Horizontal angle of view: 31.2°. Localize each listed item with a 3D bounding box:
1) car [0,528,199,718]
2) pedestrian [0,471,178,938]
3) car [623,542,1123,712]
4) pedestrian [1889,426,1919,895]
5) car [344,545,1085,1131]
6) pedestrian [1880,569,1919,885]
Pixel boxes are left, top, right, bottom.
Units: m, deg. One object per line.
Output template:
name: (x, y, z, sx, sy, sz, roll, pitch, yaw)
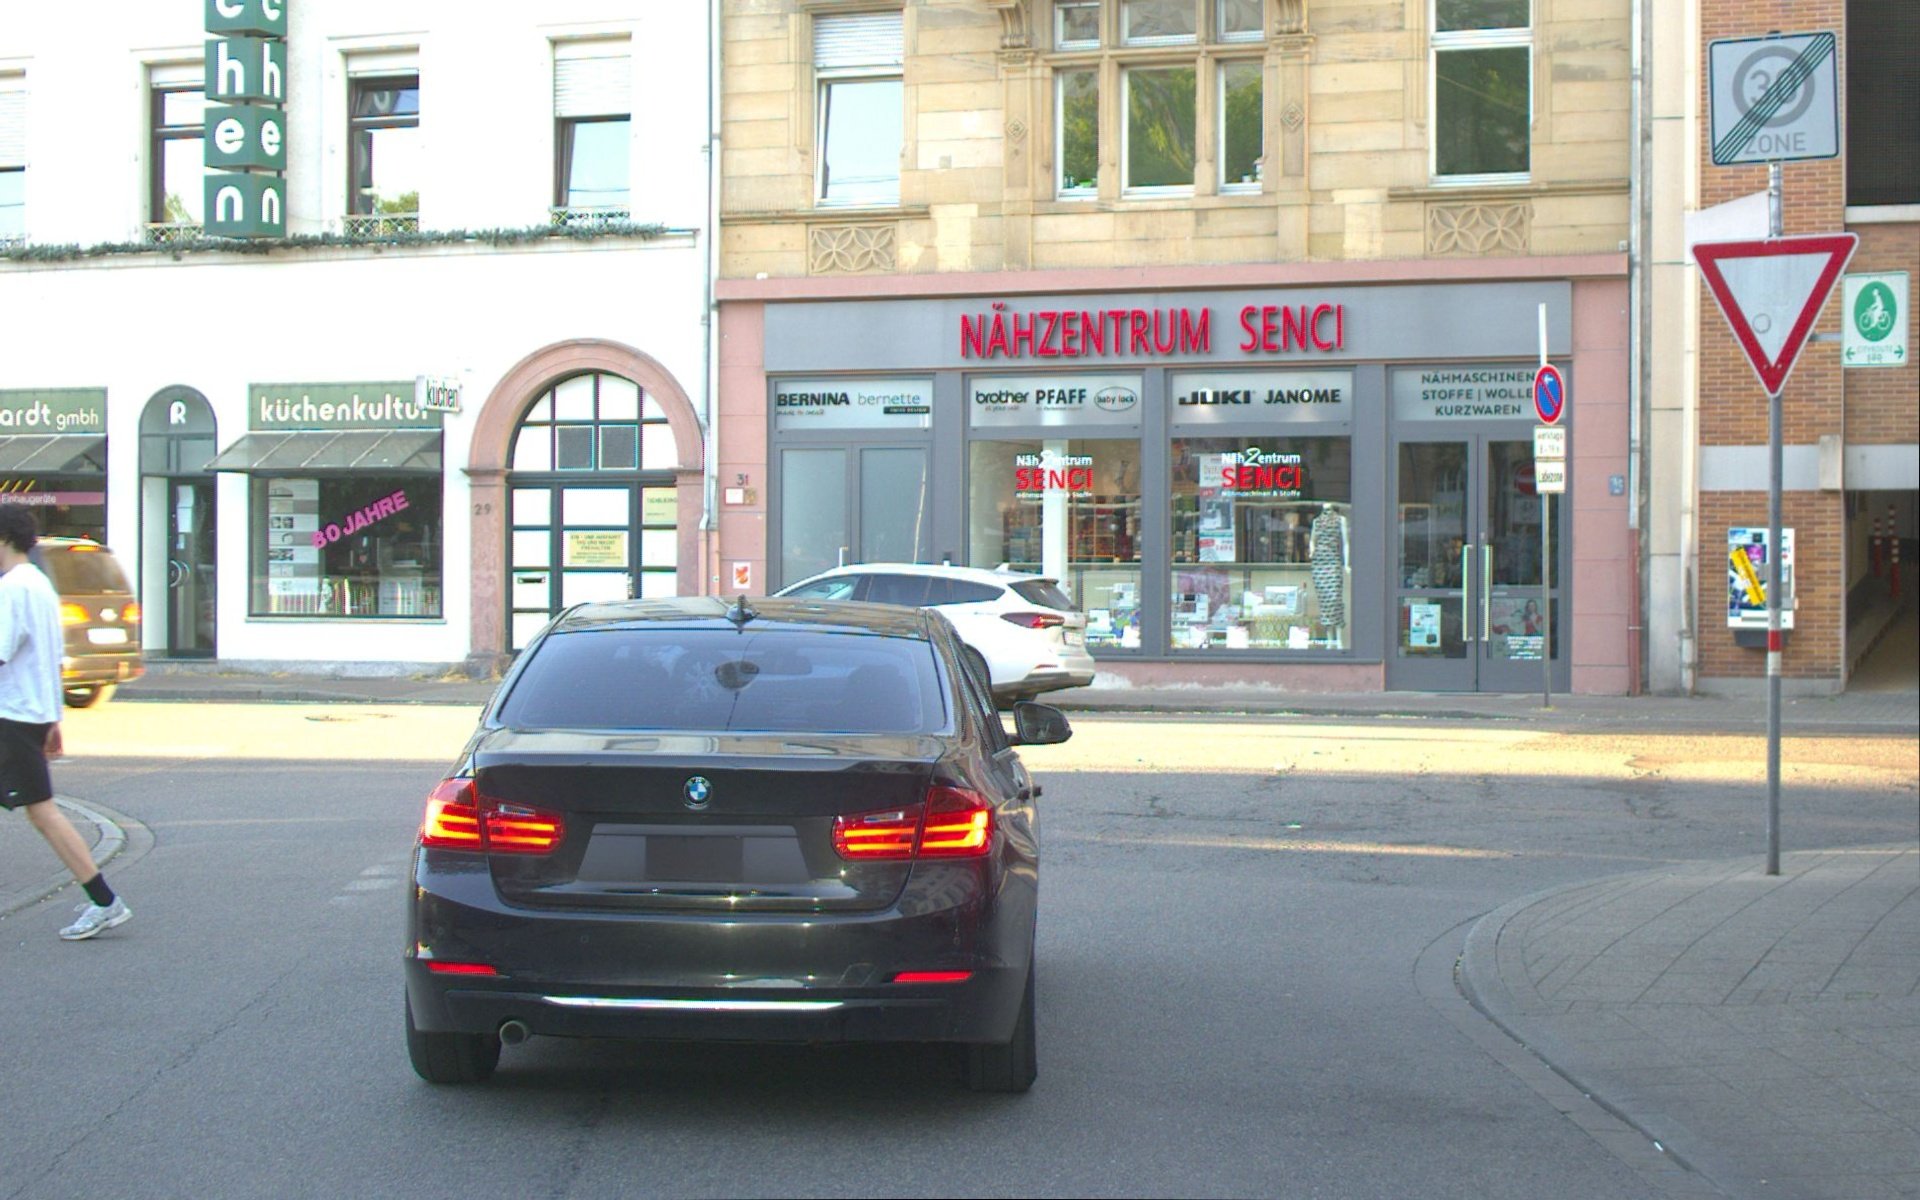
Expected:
car: (-9.871, 0.143, 32.859, 4.605, 1.647, 2.096, 2, 2, 16)
pedestrian: (-3.927, 0.405, 14.167, 0.889, 1.847, 0.983, 2, 1, 37)
car: (-0.882, 0.253, 35.169, 4.671, 1.530, 1.998, 2, 1, 20)
pedestrian: (4.578, 0.260, 15.050, 0.909, 2.007, 0.854, 1, 1, 11)
car: (-0.661, 0.619, 10.937, 1.888, 1.487, 4.204, 1, 0, -1)
pedestrian: (4.612, 0.549, 15.018, 0.768, 1.377, 0.839, 0, 0, -28)
